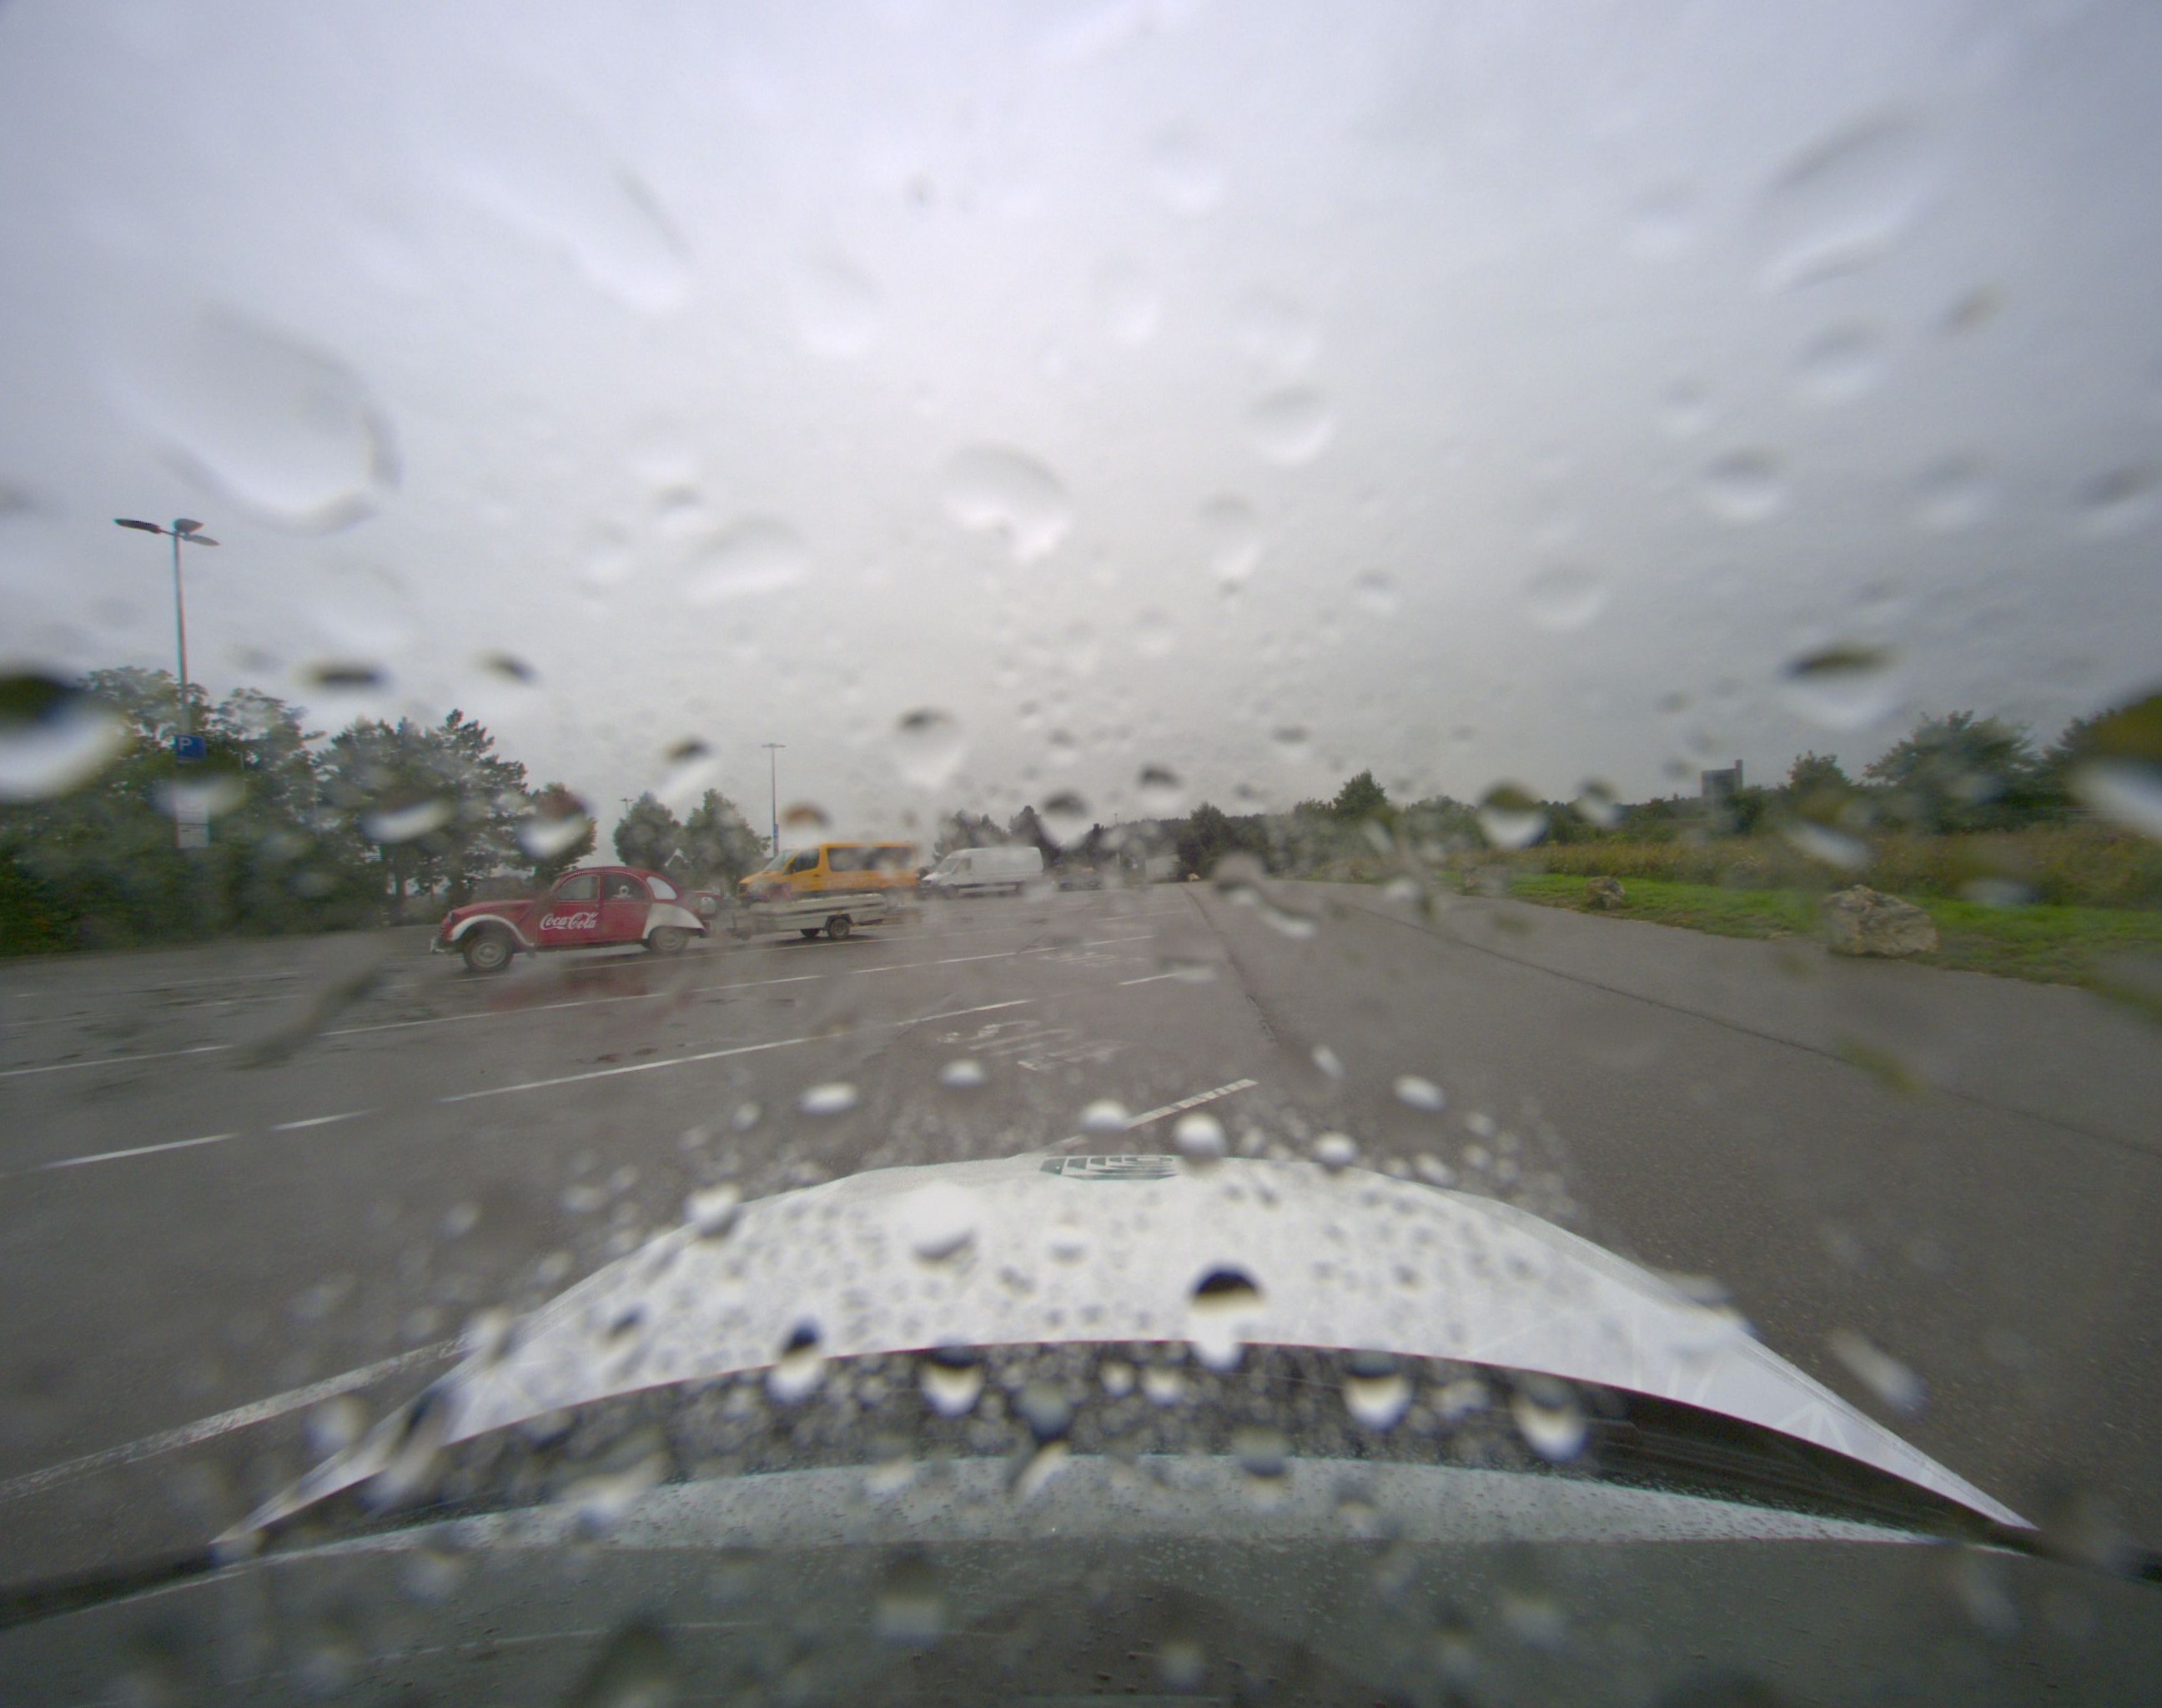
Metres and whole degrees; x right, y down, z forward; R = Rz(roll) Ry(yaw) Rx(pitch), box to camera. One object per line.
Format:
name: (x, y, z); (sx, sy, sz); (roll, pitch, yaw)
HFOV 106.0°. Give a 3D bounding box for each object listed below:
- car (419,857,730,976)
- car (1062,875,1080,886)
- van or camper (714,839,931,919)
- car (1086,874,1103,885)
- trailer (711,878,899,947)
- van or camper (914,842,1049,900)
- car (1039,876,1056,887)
car: (-8.062, 0.897, 13.245); (4.074, 1.555, 1.533); (-2, 0, -36)
car: (-1.024, 2.775, 85.847); (1.697, 1.000, 3.769); (-2, 0, 2)
van or camper: (-8.376, 0.717, 26.896); (6.450, 2.246, 2.110); (-2, 0, -39)
car: (1.403, 2.688, 85.610); (1.697, 1.000, 3.769); (-2, 0, 2)
trailer: (-5.215, 1.049, 15.451); (3.043, 1.067, 1.571); (-1, -1, -36)
van or camper: (-5.149, 0.795, 43.166); (7.104, 2.715, 1.977); (-2, 1, -39)
car: (-3.461, 2.821, 84.654); (1.489, 1.000, 3.571); (-2, 0, 2)
